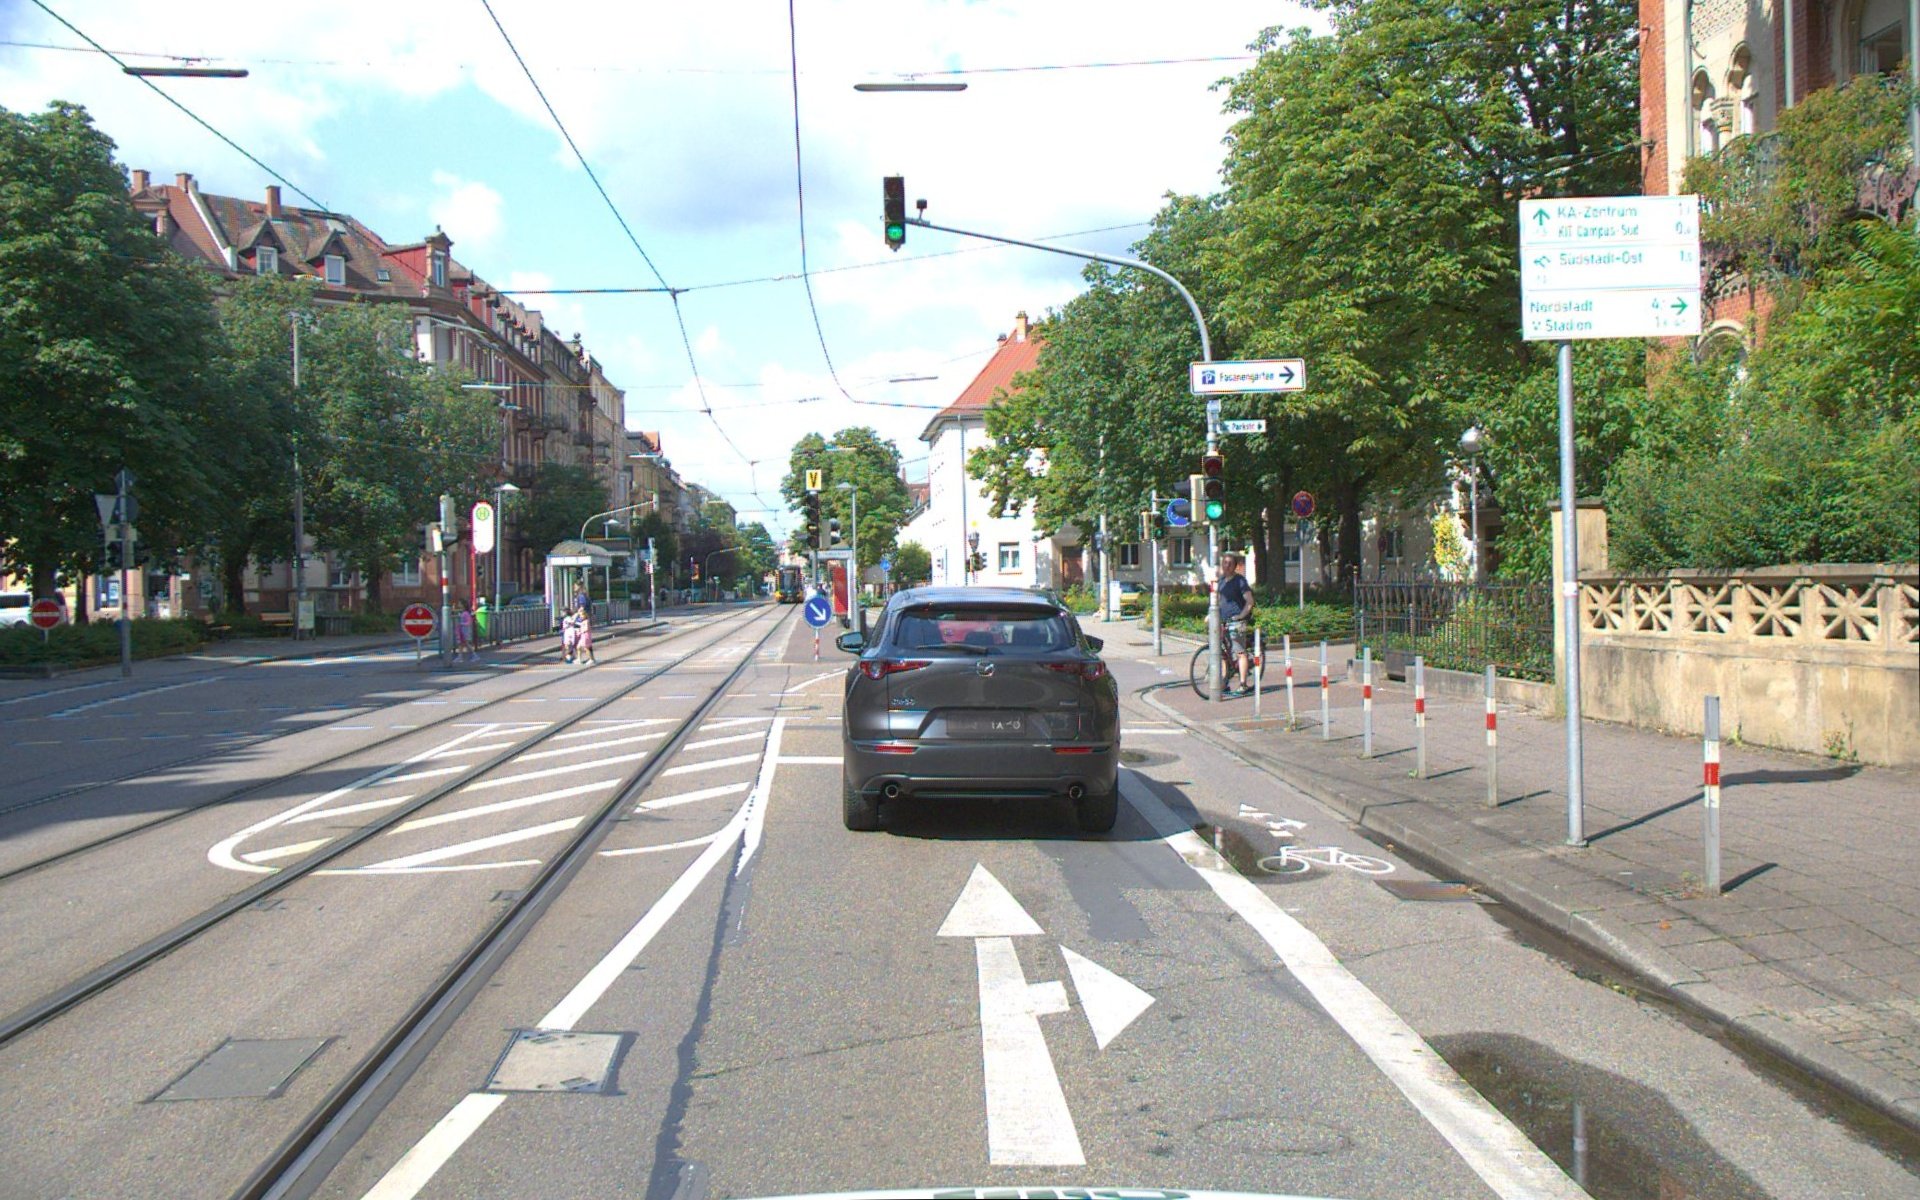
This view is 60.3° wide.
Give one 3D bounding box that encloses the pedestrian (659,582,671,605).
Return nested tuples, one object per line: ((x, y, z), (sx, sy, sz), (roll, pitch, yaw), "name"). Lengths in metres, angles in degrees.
((-22.263, -0.464, 125.034), (0.772, 1.718, 0.731), (-1, 0, -3), "pedestrian")

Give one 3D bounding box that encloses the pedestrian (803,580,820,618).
((-6.748, -0.046, 75.218), (0.756, 1.704, 0.667), (-1, 0, -6), "pedestrian")

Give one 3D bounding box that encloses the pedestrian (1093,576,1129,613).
((5.540, -0.212, 60.698), (1.170, 1.291, 0.556), (-4, 1, -10), "pedestrian")

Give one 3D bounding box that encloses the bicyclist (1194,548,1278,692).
((3.650, 0.252, 21.887), (0.724, 1.851, 0.813), (-2, 0, -27), "bicyclist")

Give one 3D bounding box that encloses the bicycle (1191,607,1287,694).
((3.730, 0.653, 21.989), (0.382, 1.053, 1.836), (-1, 1, 39), "bicycle")

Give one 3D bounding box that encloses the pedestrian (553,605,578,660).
((-8.360, 0.689, 35.036), (0.429, 1.127, 0.422), (-3, 1, -10), "pedestrian")

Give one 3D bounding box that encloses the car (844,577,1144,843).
((0.174, 0.646, 11.734), (1.746, 1.540, 3.999), (1, 0, -1), "car")

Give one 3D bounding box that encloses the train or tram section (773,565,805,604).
((-19.185, -1.694, 186.357), (2.938, 4.053, 13.797), (-1, 0, -4), "train or tram section")

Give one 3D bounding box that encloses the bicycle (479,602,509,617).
((-24.519, 0.512, 87.019), (0.378, 0.760, 1.707), (-1, 1, 31), "bicycle")

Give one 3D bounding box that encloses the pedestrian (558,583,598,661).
((-7.962, 0.455, 34.507), (0.714, 1.593, 0.797), (-1, 0, -10), "pedestrian")

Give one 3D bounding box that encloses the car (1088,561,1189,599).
((7.959, -0.901, 73.944), (4.090, 1.536, 1.844), (-1, 2, 37), "car")

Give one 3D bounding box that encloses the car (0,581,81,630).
((-40.354, 0.237, 71.627), (3.852, 2.023, 1.857), (-1, 0, 19), "car")

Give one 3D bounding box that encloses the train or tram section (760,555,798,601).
((-17.272, -1.992, 158.825), (2.938, 4.053, 13.797), (-1, 0, -4), "train or tram section")

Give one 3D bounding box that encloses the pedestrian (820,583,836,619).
((-5.868, 0.042, 73.656), (0.654, 1.573, 0.580), (-1, 0, -6), "pedestrian")

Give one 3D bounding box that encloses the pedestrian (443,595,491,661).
((-10.401, 0.583, 34.925), (0.810, 1.326, 0.716), (-3, 1, -10), "pedestrian")

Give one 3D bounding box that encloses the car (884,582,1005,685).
((-0.315, 0.472, 25.968), (1.740, 1.489, 3.840), (0, 0, -3), "car")

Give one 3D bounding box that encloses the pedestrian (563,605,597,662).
((-7.785, 0.688, 33.908), (0.629, 1.133, 0.443), (-1, 0, -10), "pedestrian")
